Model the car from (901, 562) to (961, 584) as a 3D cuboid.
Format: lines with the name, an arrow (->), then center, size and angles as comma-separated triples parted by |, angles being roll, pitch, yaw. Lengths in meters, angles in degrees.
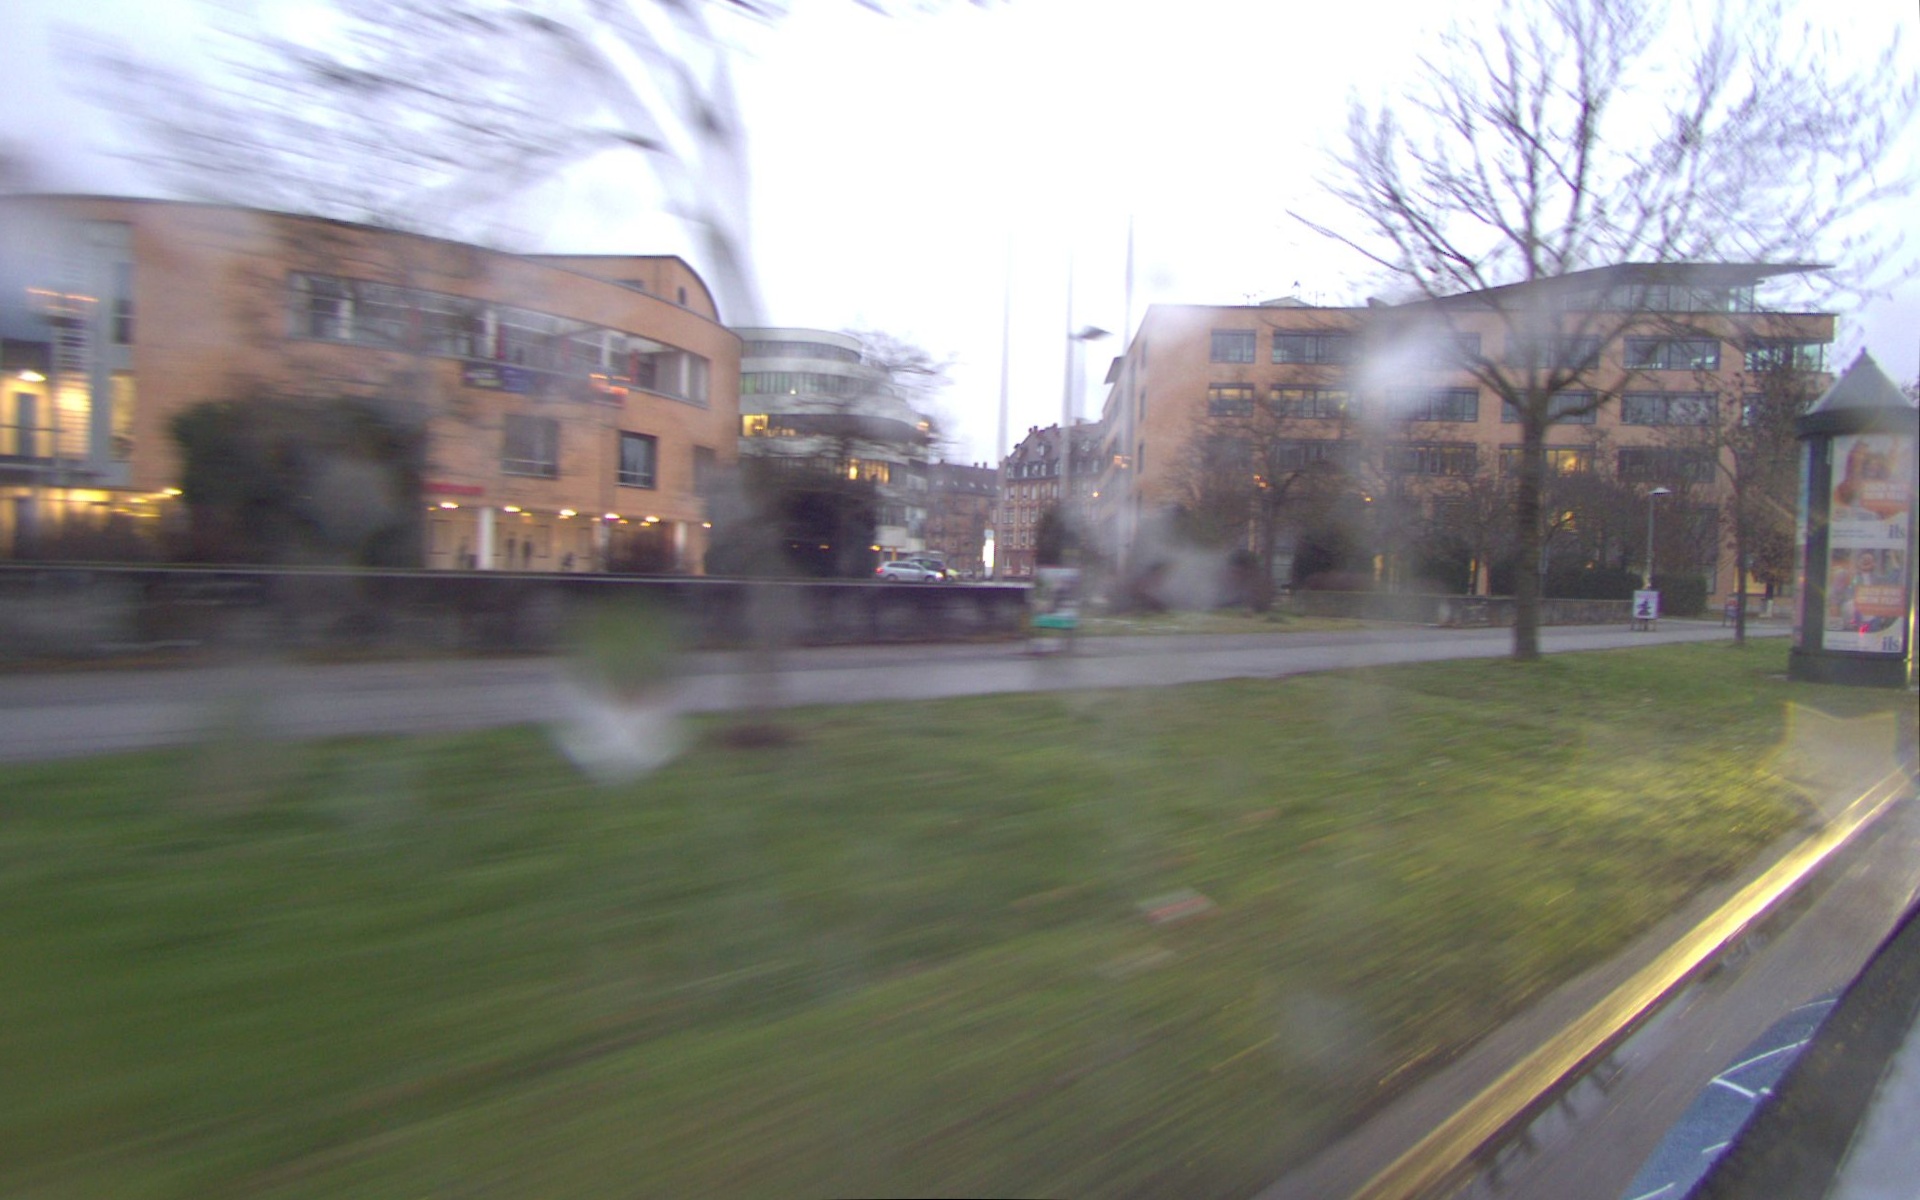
car -> -2.075, -1.965, 72.325 | 4.176, 1.366, 1.801 | 2, 3, -2

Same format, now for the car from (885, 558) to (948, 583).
car -> -2.947, -2.008, 68.550 | 4.176, 1.472, 1.801 | 2, 3, -2

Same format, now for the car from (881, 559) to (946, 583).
car -> -3.063, -1.900, 66.415 | 4.176, 1.366, 1.801 | 2, 3, -2
